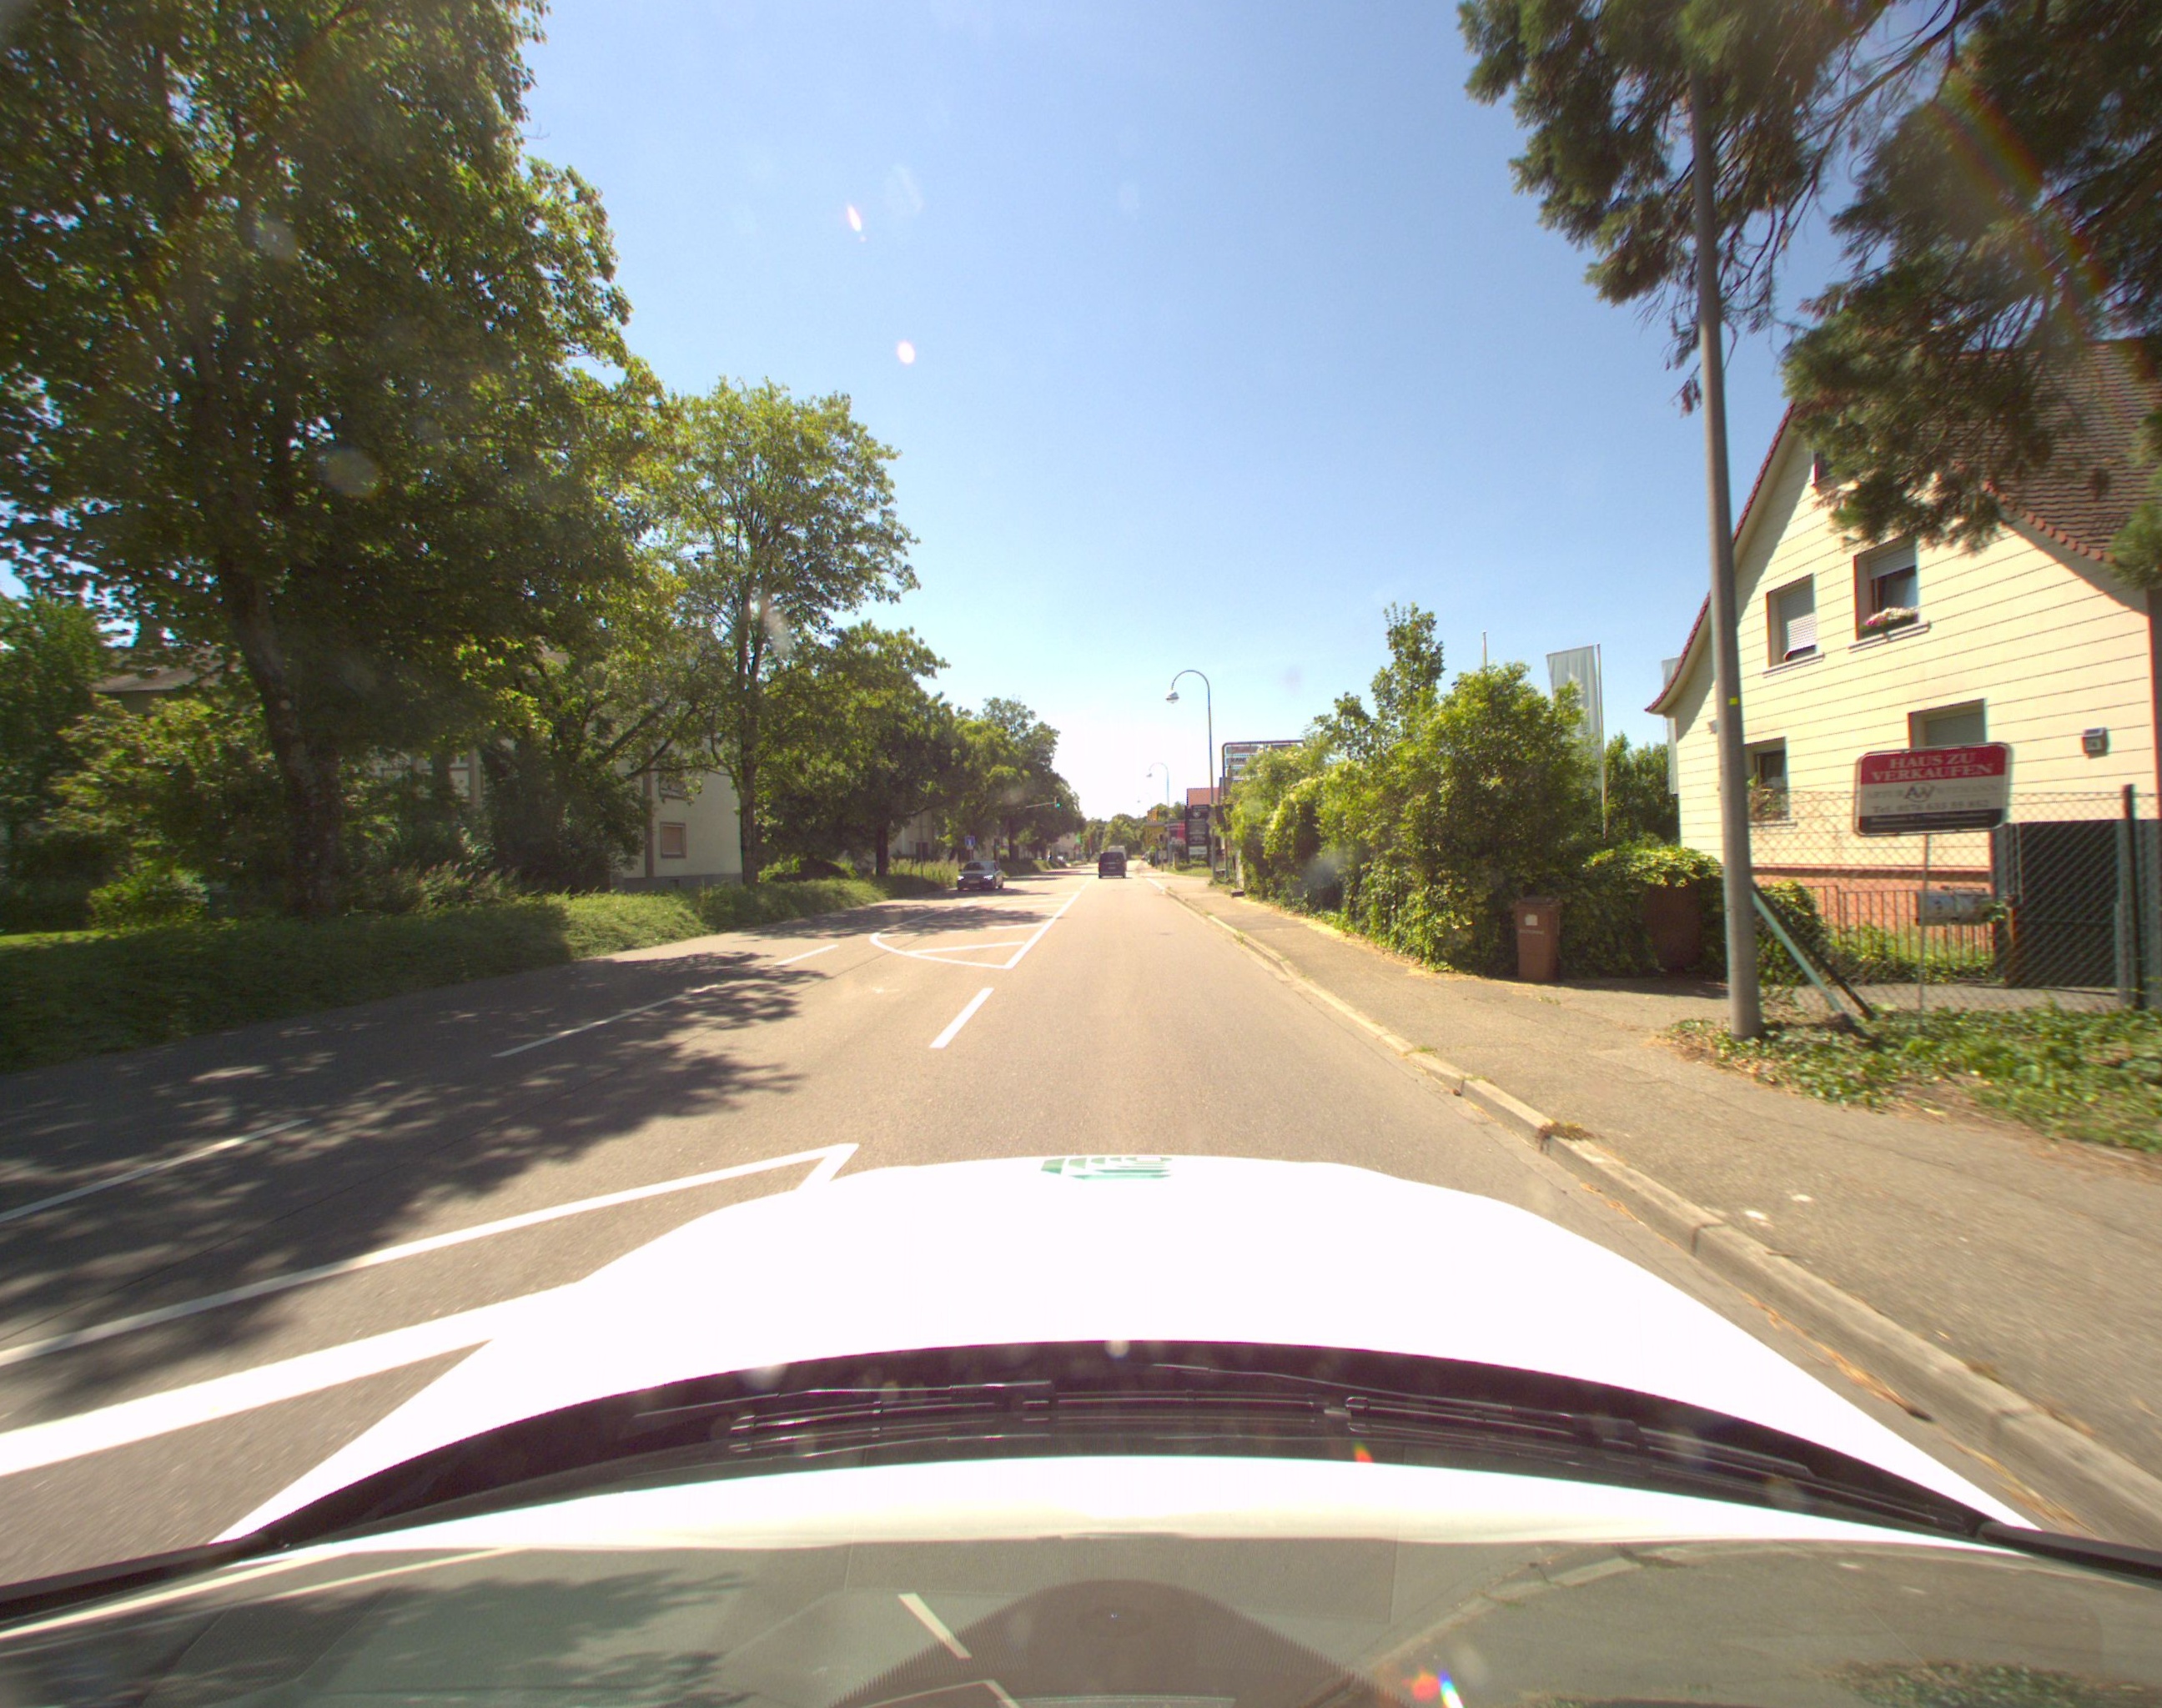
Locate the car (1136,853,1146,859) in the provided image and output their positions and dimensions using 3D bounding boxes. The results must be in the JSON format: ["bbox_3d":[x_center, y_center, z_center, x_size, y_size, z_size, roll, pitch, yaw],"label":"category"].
[{"bbox_3d":[16.734,0.579,226.923,1.843,1.643,4.018,0,1,17],"label":"car"}]

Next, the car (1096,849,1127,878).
[{"bbox_3d":[2.071,0.630,56.357,1.987,1.893,3.999,0,1,0],"label":"car"}]

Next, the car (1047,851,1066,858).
[{"bbox_3d":[-5.669,0.066,188.566,3.960,1.662,2.007,0,1,13],"label":"car"}]

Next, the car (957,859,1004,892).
[{"bbox_3d":[-4.787,1.000,39.280,1.716,1.427,4.148,0,0,1],"label":"car"}]

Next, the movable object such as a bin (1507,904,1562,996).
[{"bbox_3d":[4.981,1.034,8.941,0.466,0.928,0.527,0,0,35],"label":"movable object such as a bin"}]

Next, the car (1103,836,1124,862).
[{"bbox_3d":[3.483,-0.561,85.715,2.111,2.677,5.667,0,1,3],"label":"car"}]
